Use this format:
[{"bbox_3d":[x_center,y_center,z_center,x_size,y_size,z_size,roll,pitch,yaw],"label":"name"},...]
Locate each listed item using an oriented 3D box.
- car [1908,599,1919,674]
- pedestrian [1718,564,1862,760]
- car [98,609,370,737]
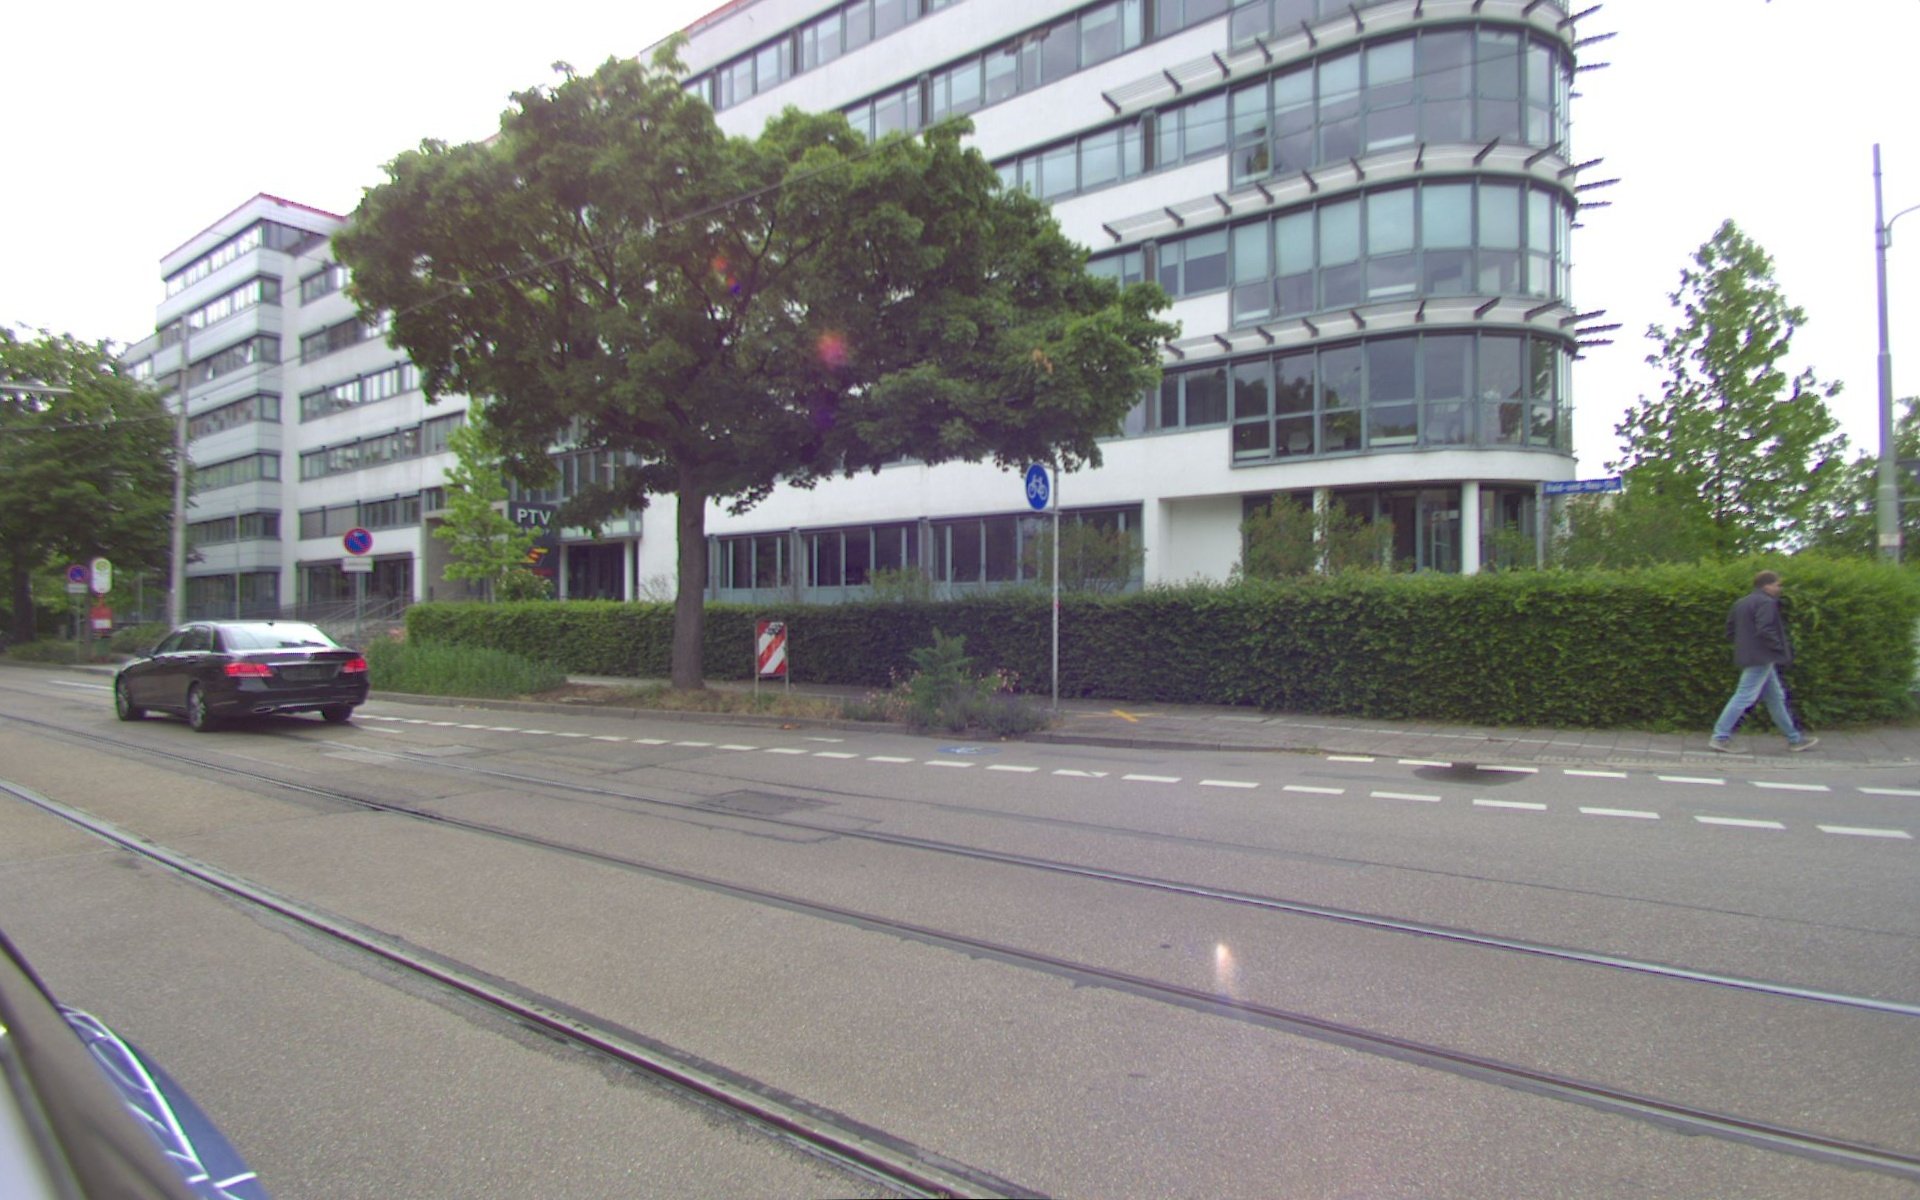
[{"bbox_3d":[21.798,0.803,21.336,1.995,1.663,3.954,-1,-1,34],"label":"car"},{"bbox_3d":[8.326,0.589,10.173,1.059,1.839,0.795,-1,0,41],"label":"pedestrian"},{"bbox_3d":[-10.475,0.936,14.503,4.469,1.558,1.781,-1,-1,35],"label":"car"}]
